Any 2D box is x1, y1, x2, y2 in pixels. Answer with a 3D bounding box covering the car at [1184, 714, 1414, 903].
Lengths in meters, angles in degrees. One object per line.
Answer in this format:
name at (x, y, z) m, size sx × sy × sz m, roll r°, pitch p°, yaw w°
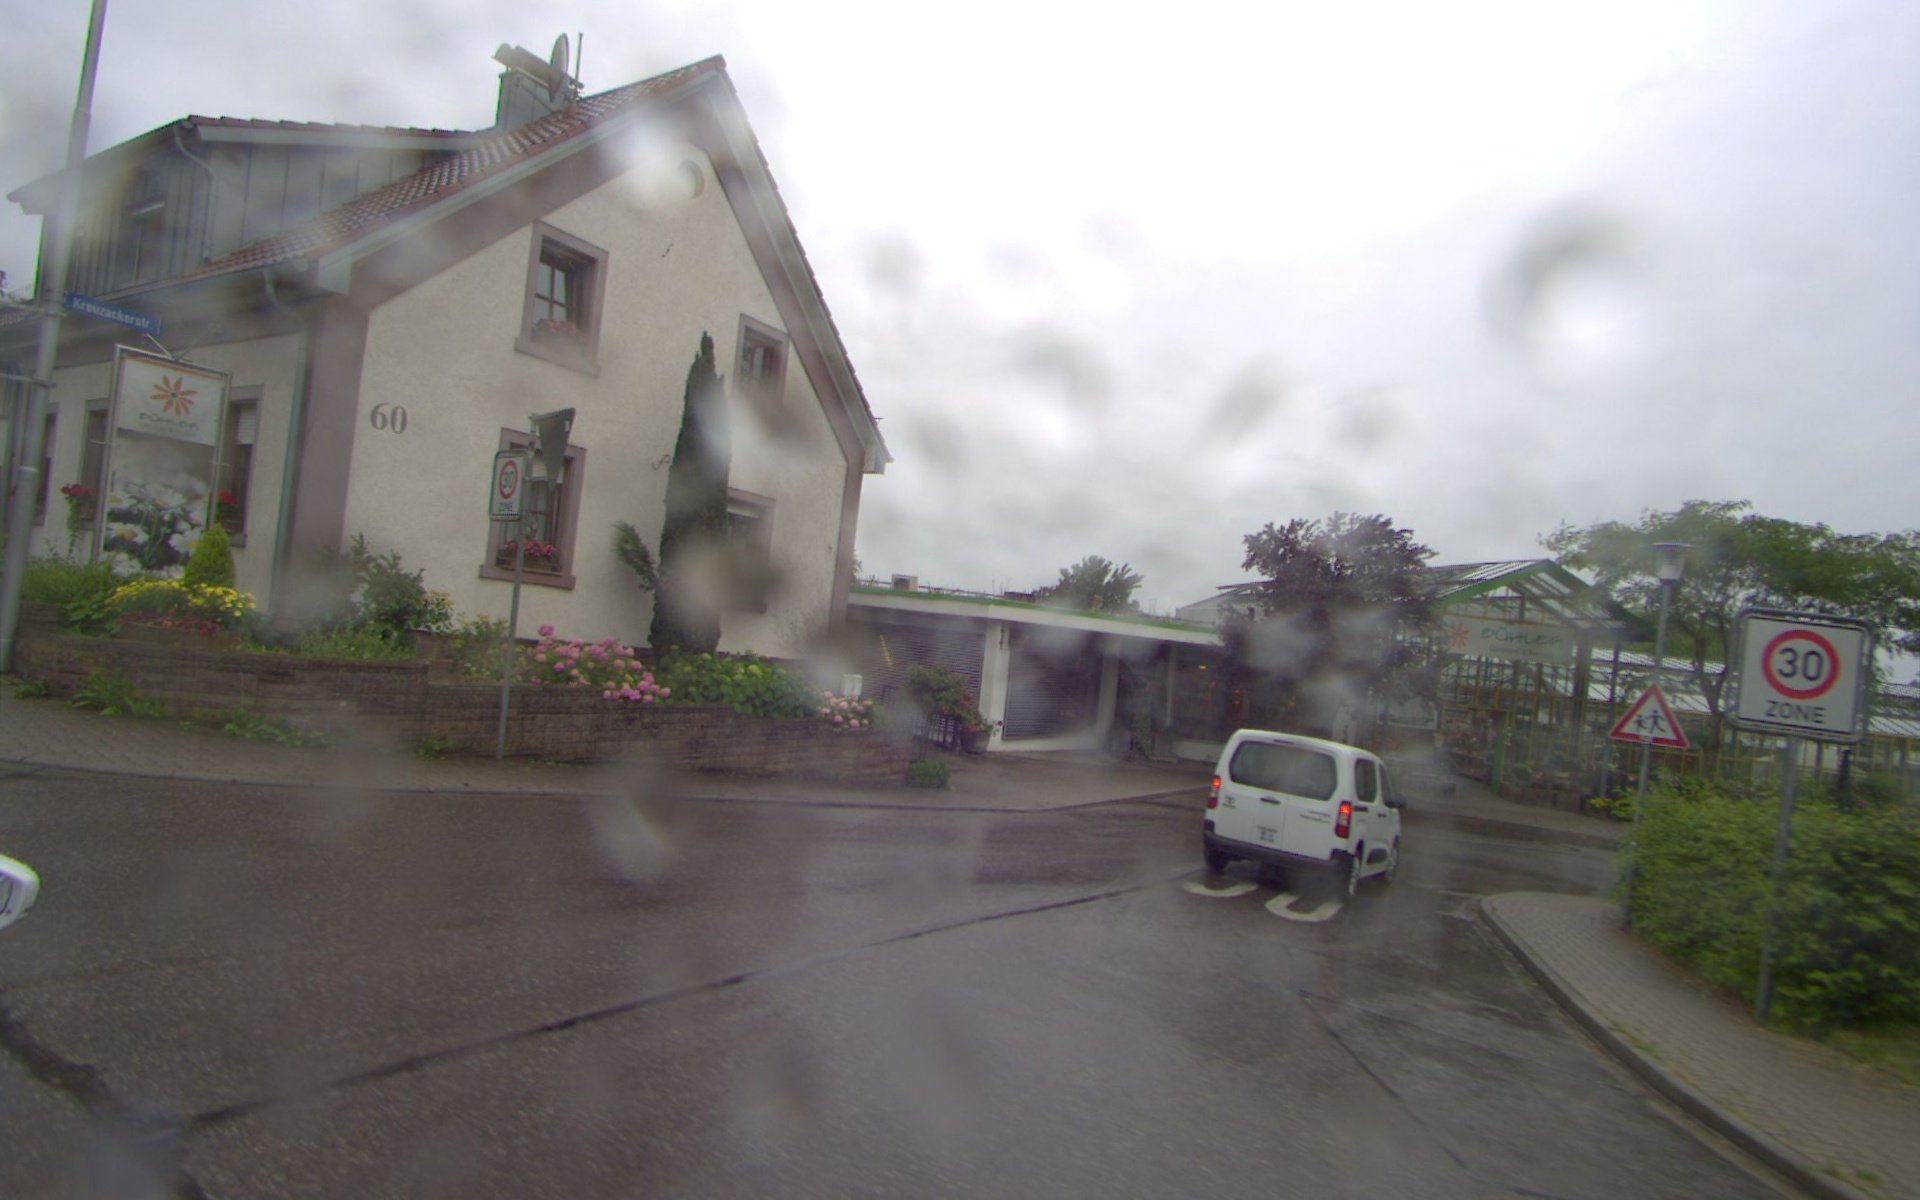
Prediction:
car at (4.613, 2.713, 13.251) m, size 1.872 × 1.823 × 4.004 m, roll 5°, pitch -8°, yaw 32°
